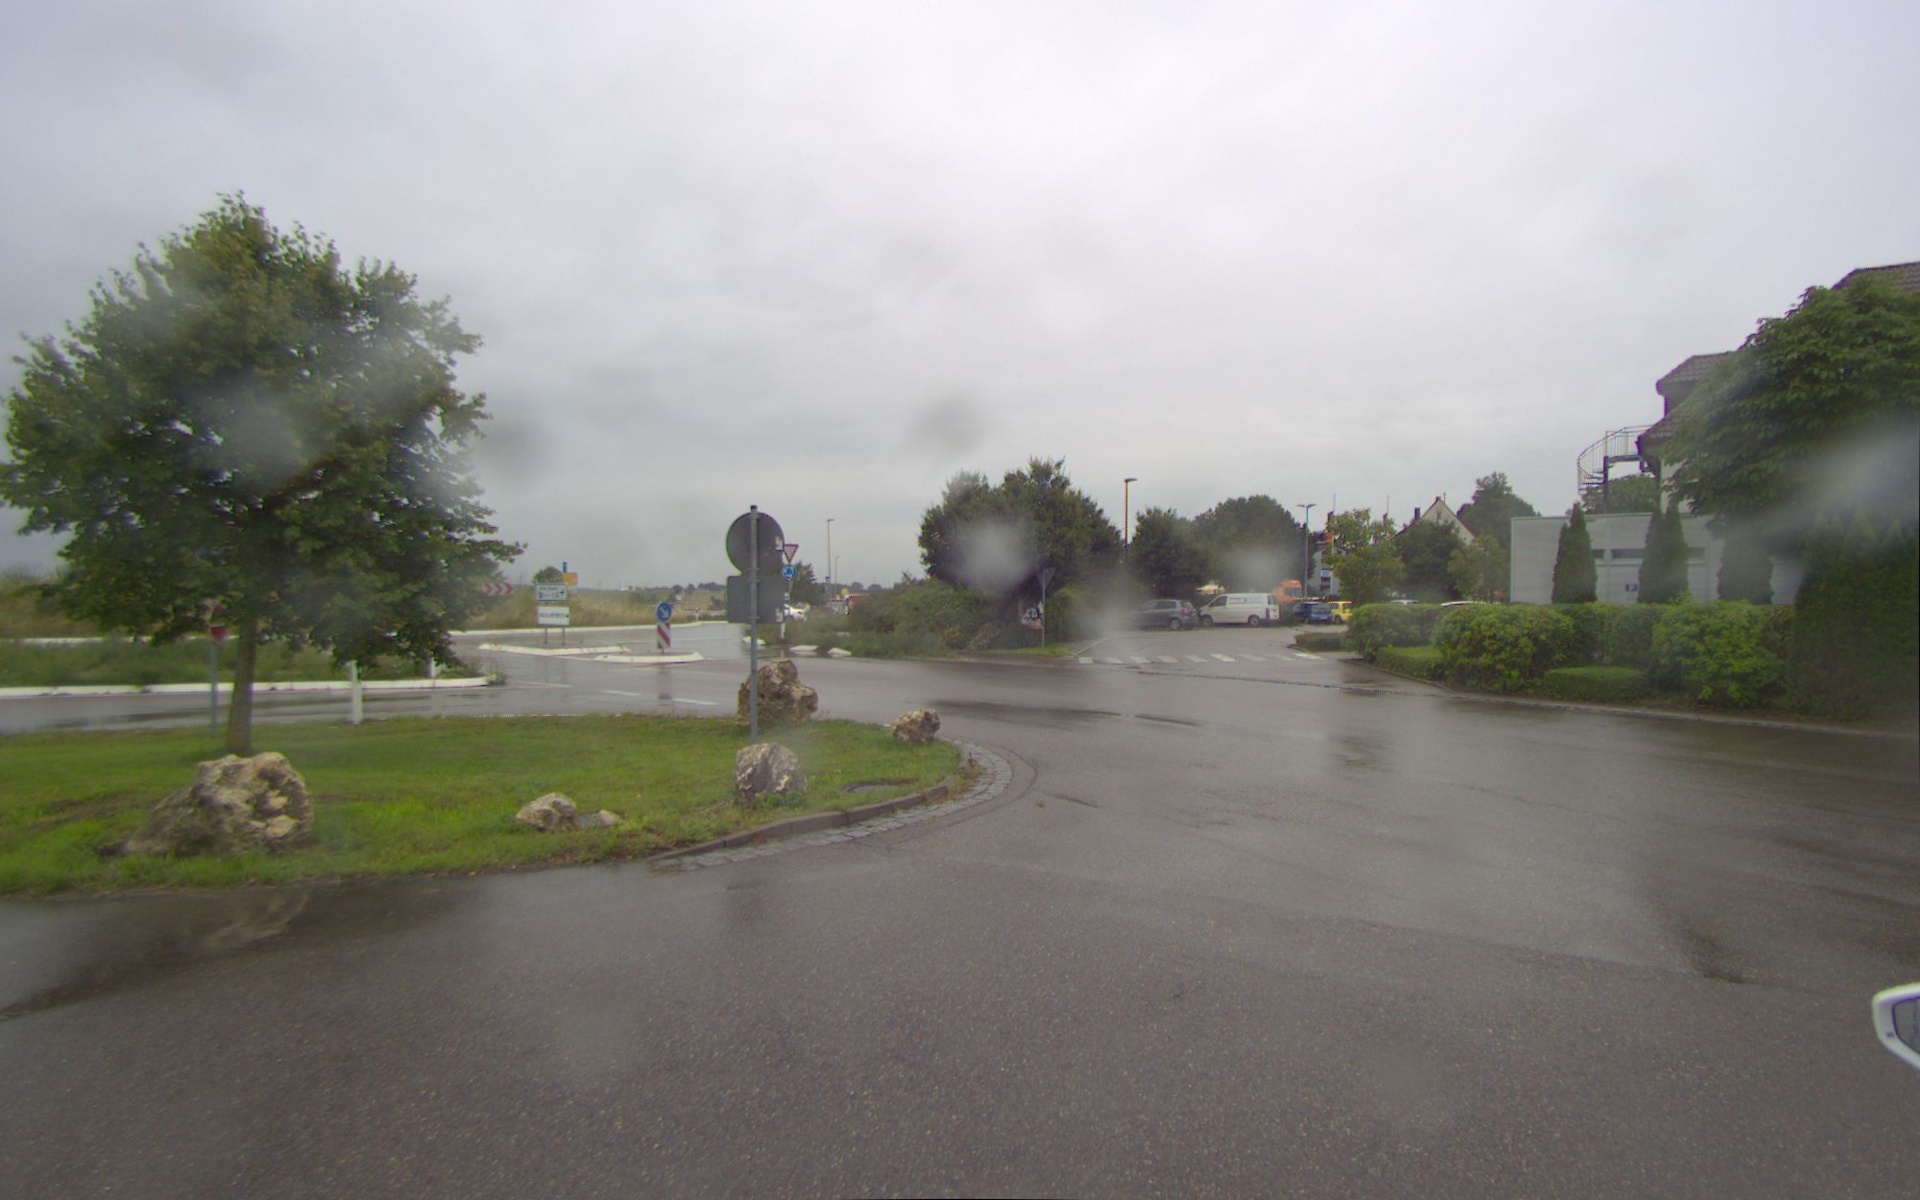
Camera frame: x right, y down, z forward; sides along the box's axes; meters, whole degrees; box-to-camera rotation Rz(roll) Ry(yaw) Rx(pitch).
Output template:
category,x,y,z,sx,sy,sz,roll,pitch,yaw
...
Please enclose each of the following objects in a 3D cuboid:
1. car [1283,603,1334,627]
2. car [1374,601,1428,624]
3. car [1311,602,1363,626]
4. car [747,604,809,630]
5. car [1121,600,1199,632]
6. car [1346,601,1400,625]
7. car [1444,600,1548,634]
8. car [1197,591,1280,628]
category,x,y,z,sx,sy,sz,roll,pitch,yaw
car,22.236,0.938,64.209,1.528,1.477,3.674,-1,0,-9
car,29.401,0.814,67.070,1.557,1.477,3.674,-1,0,-9
car,24.565,0.878,65.521,1.557,1.477,3.674,-1,0,-9
car,-13.029,1.215,72.003,4.285,1.782,1.747,0,-1,-7
car,10.229,0.810,51.446,3.684,1.571,1.445,-1,0,37
car,27.050,0.838,65.923,1.557,1.477,3.674,-1,0,-9
car,25.121,0.785,47.142,4.122,1.517,1.711,-1,0,37
car,16.377,0.548,59.225,4.463,2.060,1.638,-1,0,37
